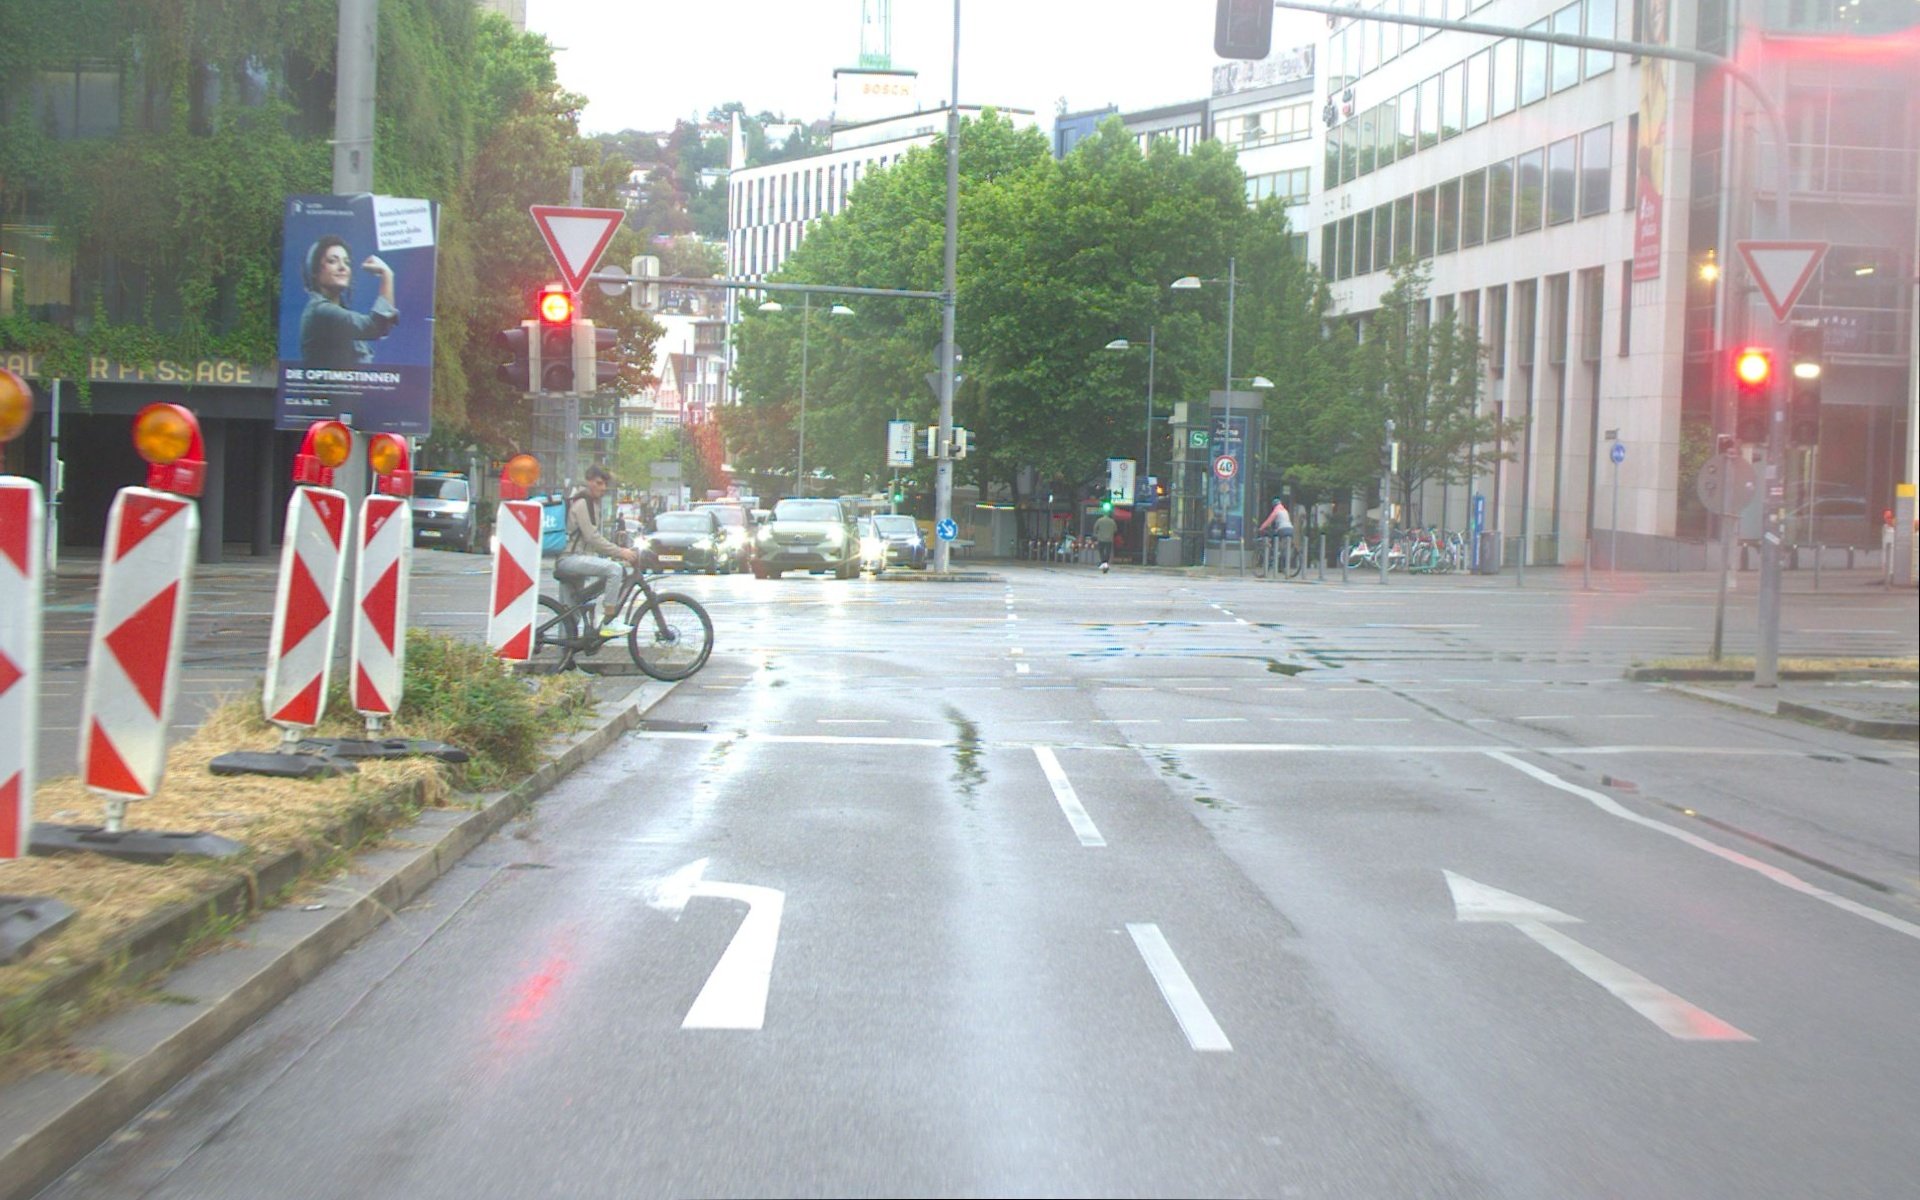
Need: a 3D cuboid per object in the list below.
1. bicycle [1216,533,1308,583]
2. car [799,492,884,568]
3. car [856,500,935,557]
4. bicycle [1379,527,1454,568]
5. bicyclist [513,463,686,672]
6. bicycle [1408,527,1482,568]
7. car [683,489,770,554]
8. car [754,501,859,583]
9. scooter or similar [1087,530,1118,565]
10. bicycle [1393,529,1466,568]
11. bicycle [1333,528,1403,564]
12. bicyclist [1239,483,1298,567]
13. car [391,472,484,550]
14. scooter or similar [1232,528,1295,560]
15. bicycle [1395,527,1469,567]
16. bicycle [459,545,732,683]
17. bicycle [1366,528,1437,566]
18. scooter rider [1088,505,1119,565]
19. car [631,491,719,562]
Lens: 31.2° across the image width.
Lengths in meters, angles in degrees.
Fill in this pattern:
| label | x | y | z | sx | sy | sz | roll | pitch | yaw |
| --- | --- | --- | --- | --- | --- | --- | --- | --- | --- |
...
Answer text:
| label | x | y | z | sx | sy | sz | roll | pitch | yaw |
| --- | --- | --- | --- | --- | --- | --- | --- | --- | --- |
| bicycle | 7.193 | -1.002 | 81.933 | 0.791 | 1.113 | 2.255 | 0 | 2 | -41 |
| car | -2.835 | -1.698 | 82.285 | 1.963 | 1.649 | 4.365 | 1 | 3 | -2 |
| car | -1.842 | -2.030 | 96.749 | 1.993 | 1.438 | 4.557 | 1 | 3 | -4 |
| bicycle | 10.986 | -1.271 | 82.715 | 1.799 | 0.931 | 0.474 | 3 | 2 | 41 |
| bicyclist | -3.010 | -0.276 | 28.651 | 1.294 | 1.698 | 0.848 | 1 | 2 | -14 |
| bicycle | 11.750 | -1.274 | 83.357 | 1.799 | 0.931 | 0.474 | 3 | 2 | 41 |
| car | -5.650 | -1.918 | 82.845 | 1.856 | 1.443 | 4.622 | 1 | 2 | -7 |
| car | -3.088 | -1.194 | 68.983 | 1.993 | 1.545 | 4.556 | 1 | 2 | -3 |
| scooter or similar | 4.265 | -1.574 | 102.866 | 0.556 | 1.003 | 1.824 | 1 | 1 | -10 |
| bicycle | 11.604 | -1.276 | 85.069 | 1.799 | 0.931 | 0.474 | 3 | 2 | 41 |
| bicycle | 10.823 | -1.436 | 91.244 | 1.794 | 0.931 | 0.475 | 1 | 1 | 3 |
| bicyclist | 7.336 | -1.785 | 81.756 | 0.791 | 1.968 | 1.114 | 0 | 2 | -41 |
| car | -13.164 | -2.252 | 86.788 | 1.993 | 1.888 | 4.466 | 1 | 2 | -5 |
| scooter or similar | 8.704 | -1.602 | 98.552 | 1.745 | 0.875 | 0.489 | 0 | 1 | -19 |
| bicycle | 11.576 | -1.298 | 84.323 | 1.799 | 0.931 | 0.474 | 3 | 2 | 41 |
| bicycle | -3.048 | 0.112 | 28.654 | 2.145 | 1.099 | 0.848 | 1 | 2 | -14 |
| bicycle | 11.475 | -1.382 | 89.396 | 1.794 | 0.931 | 0.475 | 1 | 1 | 3 |
| scooter rider | 4.297 | -1.949 | 102.895 | 0.762 | 1.768 | 0.796 | 1 | 1 | -10 |
| car | -6.344 | -1.652 | 76.399 | 1.856 | 1.443 | 4.622 | 1 | 2 | -5 |
